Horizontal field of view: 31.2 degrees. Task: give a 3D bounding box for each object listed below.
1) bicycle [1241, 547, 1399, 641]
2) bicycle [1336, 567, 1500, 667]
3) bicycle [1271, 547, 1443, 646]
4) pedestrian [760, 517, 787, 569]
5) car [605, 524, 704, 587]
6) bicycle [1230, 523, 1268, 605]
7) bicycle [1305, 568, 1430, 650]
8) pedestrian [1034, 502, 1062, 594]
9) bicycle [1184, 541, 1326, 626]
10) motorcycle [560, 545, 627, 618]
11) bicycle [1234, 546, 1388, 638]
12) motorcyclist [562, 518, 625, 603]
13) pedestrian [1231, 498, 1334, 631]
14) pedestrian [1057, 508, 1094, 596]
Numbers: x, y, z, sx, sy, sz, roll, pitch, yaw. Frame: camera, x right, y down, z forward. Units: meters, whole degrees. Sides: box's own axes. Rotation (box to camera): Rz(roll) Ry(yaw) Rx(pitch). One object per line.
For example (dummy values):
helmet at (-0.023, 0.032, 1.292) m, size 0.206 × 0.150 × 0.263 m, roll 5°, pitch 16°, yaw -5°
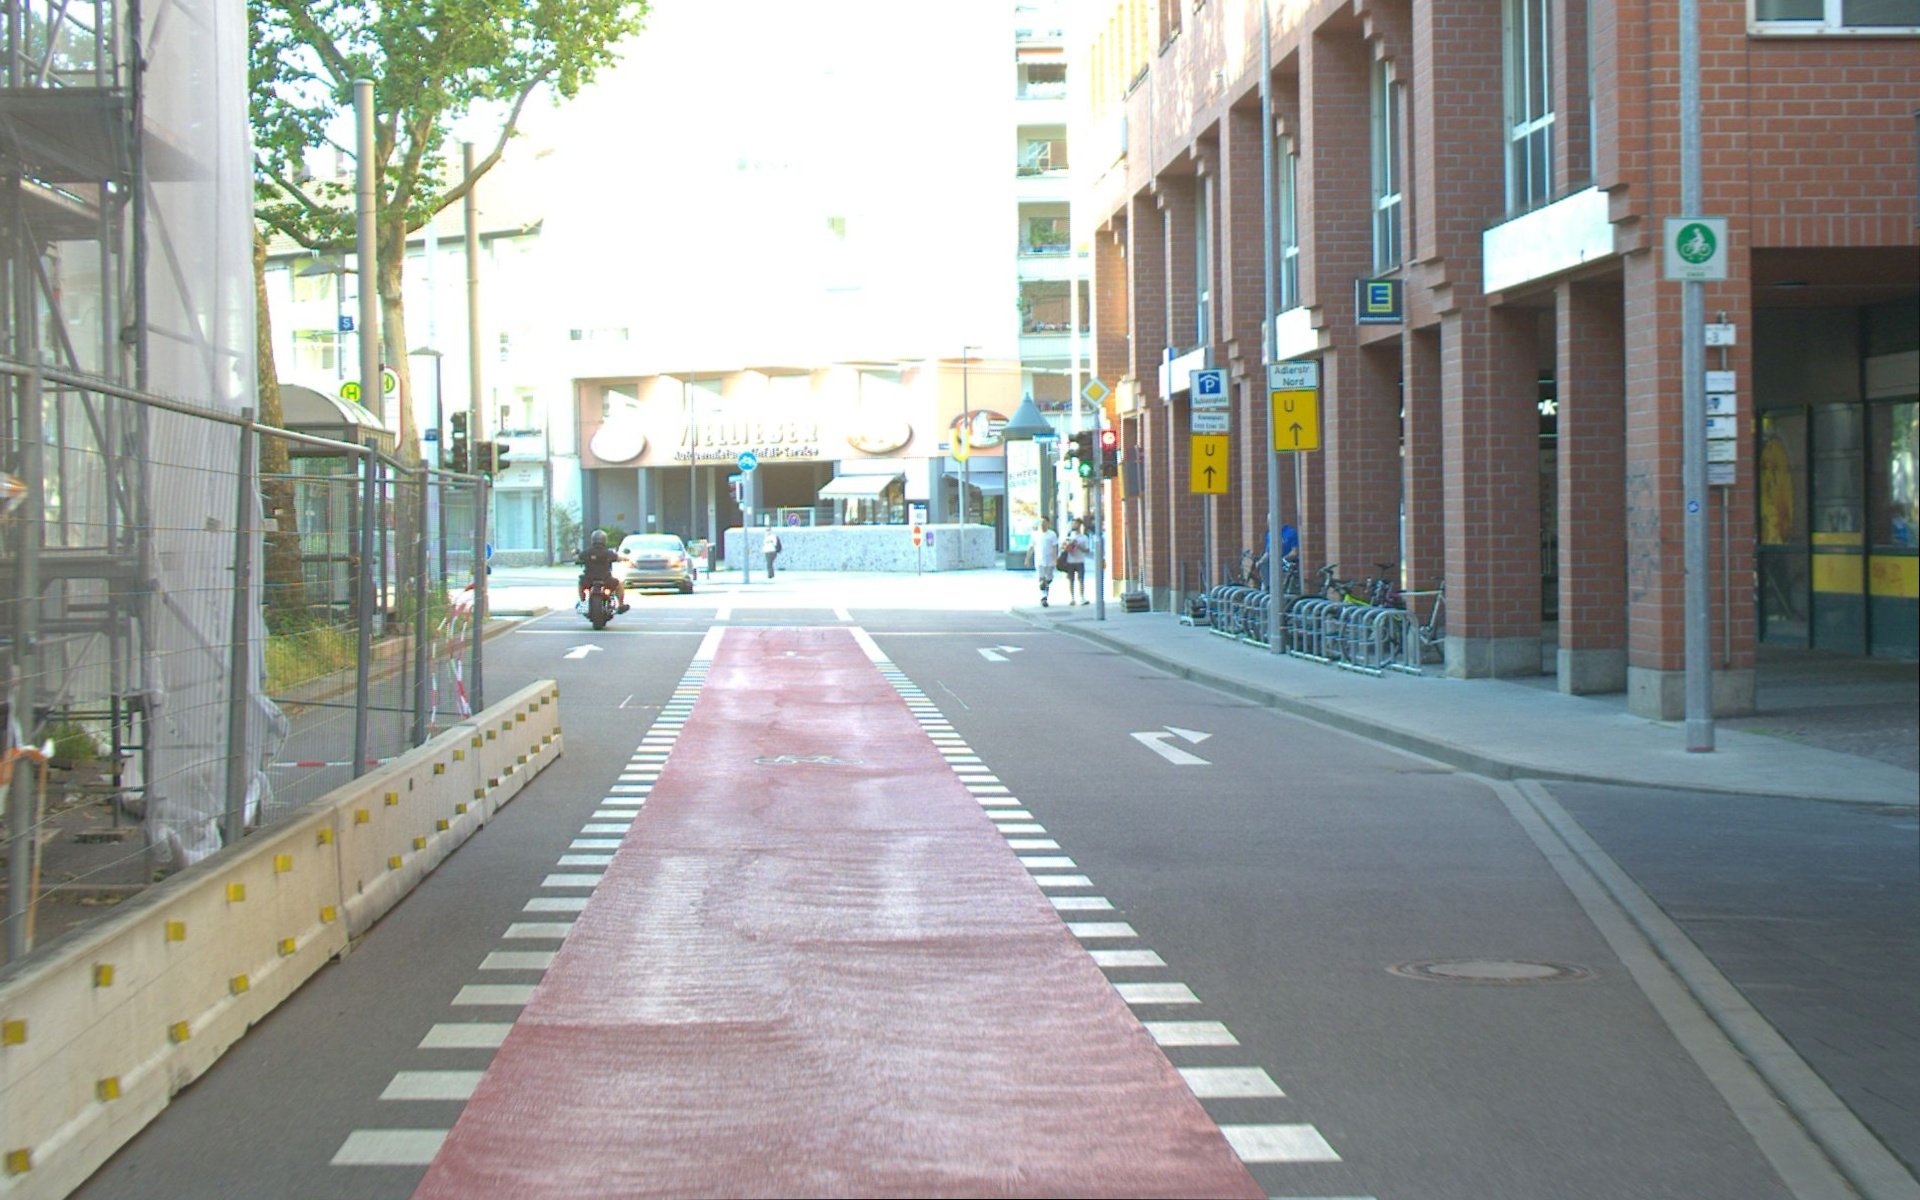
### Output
bicycle at (4.559, -0.078, 43.604) m, size 1.891 × 1.115 × 0.550 m, roll -2°, pitch 1°, yaw -3°
bicycle at (4.888, 0.177, 36.739) m, size 1.611 × 0.951 × 0.555 m, roll -4°, pitch 2°, yaw -1°
bicycle at (4.721, -0.047, 40.971) m, size 1.933 × 1.053 × 0.573 m, roll -3°, pitch 1°, yaw 0°
pedestrian at (-5.635, -1.721, 103.985) m, size 0.557 × 1.578 × 0.539 m, roll 0°, pitch 2°, yaw 44°
car at (-7.198, -1.070, 80.700) m, size 1.923 × 1.384 × 4.001 m, roll -1°, pitch 2°, yaw -11°
bicycle at (4.295, -0.549, 51.161) m, size 0.339 × 1.179 × 1.678 m, roll -1°, pitch 2°, yaw -2°
bicycle at (4.679, 0.103, 39.483) m, size 1.334 × 0.838 × 0.425 m, roll -4°, pitch 2°, yaw -1°
pedestrian at (1.727, -1.014, 67.384) m, size 0.475 × 1.786 × 0.541 m, roll -1°, pitch 2°, yaw -3°
bicycle at (4.092, -0.234, 47.731) m, size 1.891 × 1.115 × 0.475 m, roll -2°, pitch 1°, yaw -3°
motorcycle at (-5.911, -0.316, 55.550) m, size 0.973 × 1.128 × 2.805 m, roll 0°, pitch 1°, yaw -4°
bicycle at (4.508, -0.105, 44.210) m, size 1.891 × 1.115 × 0.475 m, roll -2°, pitch 1°, yaw -3°
motorcyclist at (-5.922, -0.646, 55.561) m, size 0.970 × 1.342 × 1.138 m, roll 0°, pitch 1°, yaw -4°
pedestrian at (4.310, -0.478, 45.966) m, size 1.194 × 1.690 × 0.885 m, roll -3°, pitch 2°, yaw 0°
pedestrian at (2.260, -0.944, 67.360) m, size 0.633 × 1.719 × 0.630 m, roll -1°, pitch 2°, yaw -3°
